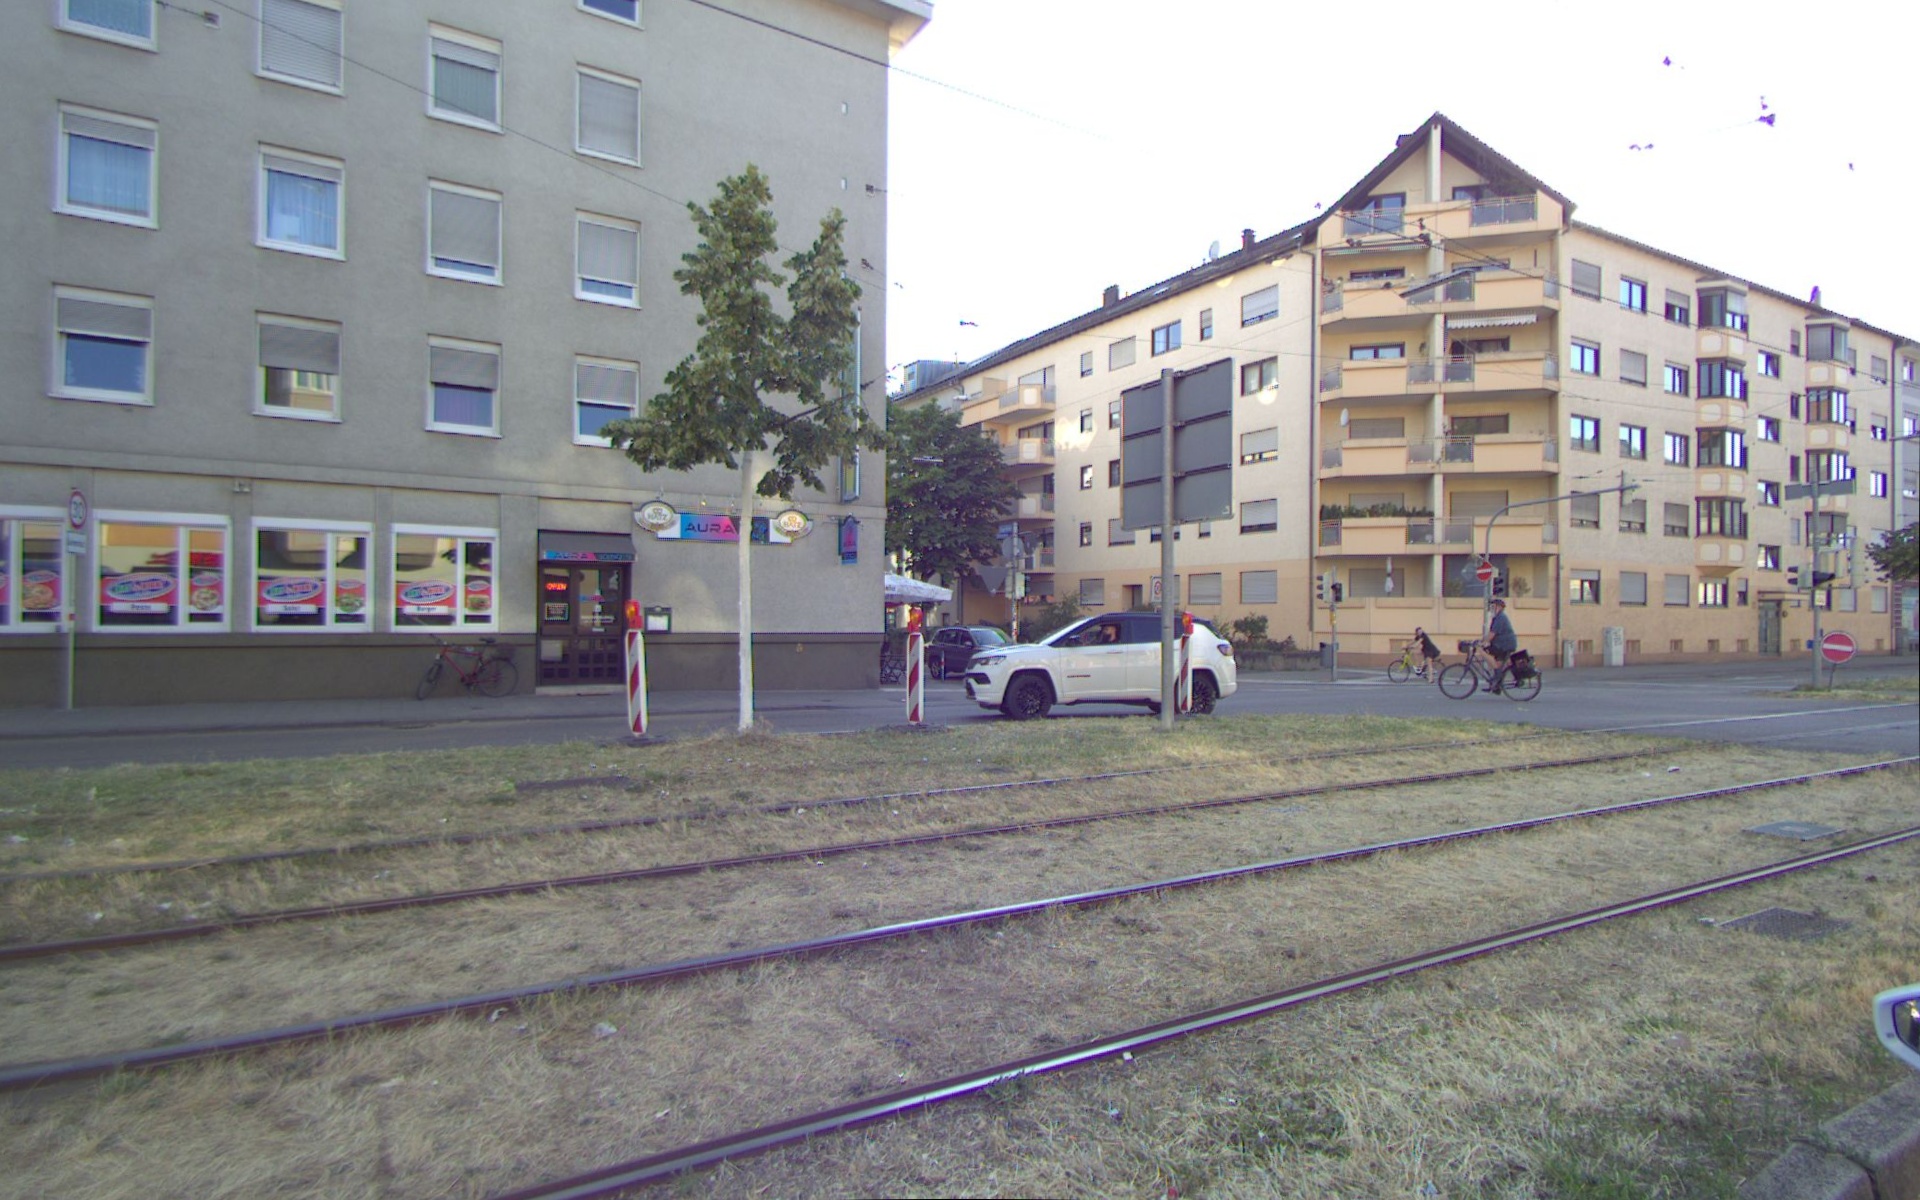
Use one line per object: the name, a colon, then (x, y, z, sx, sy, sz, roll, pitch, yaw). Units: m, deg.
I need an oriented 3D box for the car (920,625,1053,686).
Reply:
car: (0.758, 1.681, 31.473, 1.982, 1.645, 4.153, -3, 1, -38)

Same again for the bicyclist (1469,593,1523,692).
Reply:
bicyclist: (10.706, 0.835, 20.058, 0.797, 1.907, 0.650, -1, 0, 41)

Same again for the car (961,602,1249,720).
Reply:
car: (2.222, 0.998, 16.259, 4.309, 1.757, 2.000, 1, -3, -3)

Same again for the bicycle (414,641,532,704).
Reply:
bicycle: (-8.586, 1.257, 17.731, 1.823, 1.037, 0.605, 2, 0, -31)

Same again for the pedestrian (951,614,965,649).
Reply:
pedestrian: (-0.109, 1.569, 50.526, 0.456, 1.727, 0.589, 2, 0, -24)

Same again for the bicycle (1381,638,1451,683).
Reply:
bicycle: (13.308, 1.761, 29.345, 1.833, 1.274, 0.457, 0, 0, 3)

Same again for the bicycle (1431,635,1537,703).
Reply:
bicycle: (10.536, 1.366, 20.238, 1.842, 1.274, 0.454, 0, 0, 40)

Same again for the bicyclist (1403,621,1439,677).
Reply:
bicyclist: (13.469, 1.434, 29.364, 0.793, 1.607, 0.628, 0, 0, 4)

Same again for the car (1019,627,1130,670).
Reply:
car: (4.249, 1.787, 37.759, 1.982, 1.461, 3.957, 1, -1, -38)
